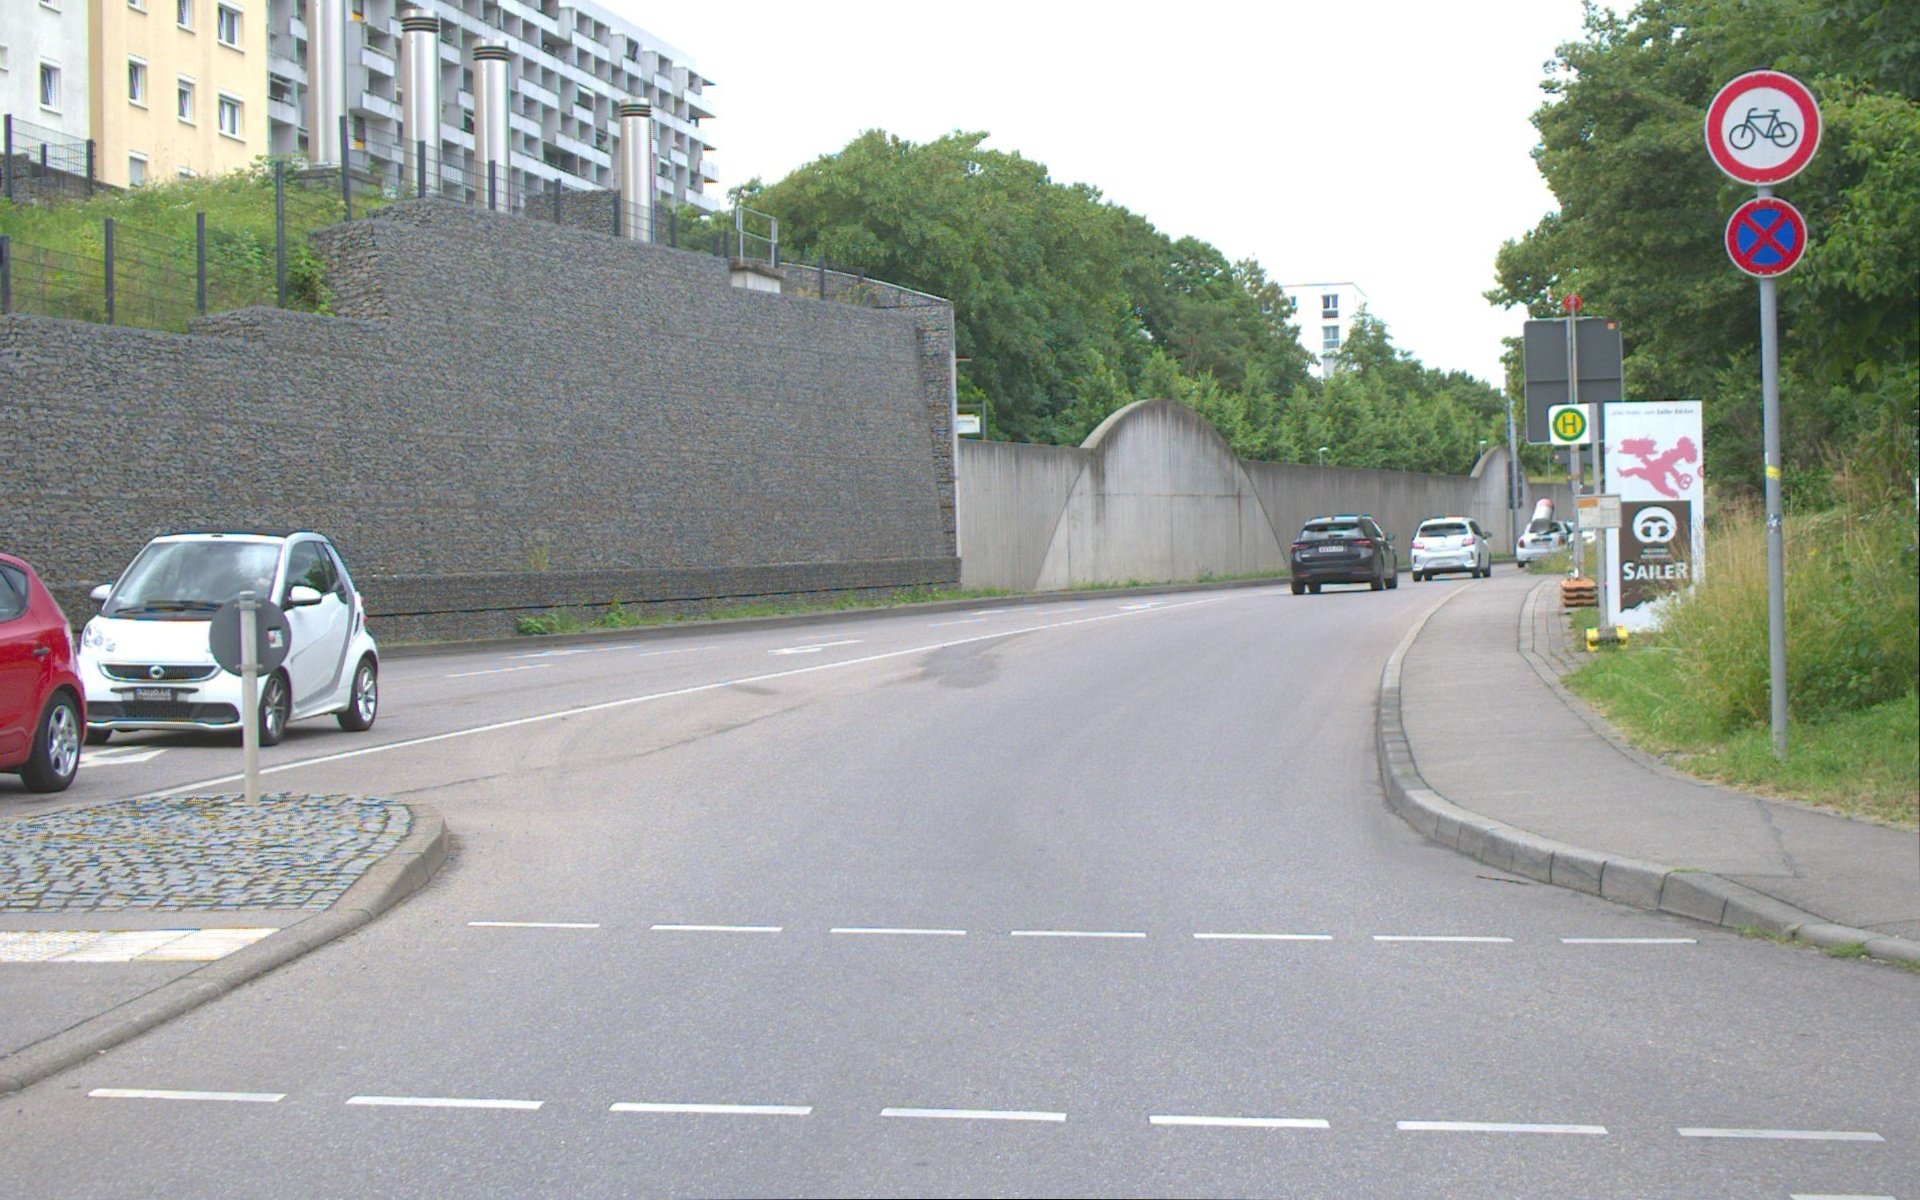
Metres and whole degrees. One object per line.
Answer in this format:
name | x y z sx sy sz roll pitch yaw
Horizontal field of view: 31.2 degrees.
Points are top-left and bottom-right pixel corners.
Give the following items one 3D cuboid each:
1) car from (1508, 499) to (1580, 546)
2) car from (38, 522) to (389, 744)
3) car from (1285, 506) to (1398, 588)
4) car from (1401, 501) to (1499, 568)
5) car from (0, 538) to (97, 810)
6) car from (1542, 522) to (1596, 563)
car | 18.648 -2.460 109.699 1.868 1.485 4.254 0 1 15
car | -5.427 0.208 25.302 1.544 1.518 2.913 1 1 10
car | 7.486 -1.014 67.155 1.755 1.518 4.034 1 0 12
car | 11.929 -1.579 83.458 1.755 1.518 4.033 1 0 17
car | -6.313 0.405 18.673 1.755 1.518 4.091 1 0 8
car | 25.981 -2.452 146.544 1.863 1.626 4.205 -2 1 15
